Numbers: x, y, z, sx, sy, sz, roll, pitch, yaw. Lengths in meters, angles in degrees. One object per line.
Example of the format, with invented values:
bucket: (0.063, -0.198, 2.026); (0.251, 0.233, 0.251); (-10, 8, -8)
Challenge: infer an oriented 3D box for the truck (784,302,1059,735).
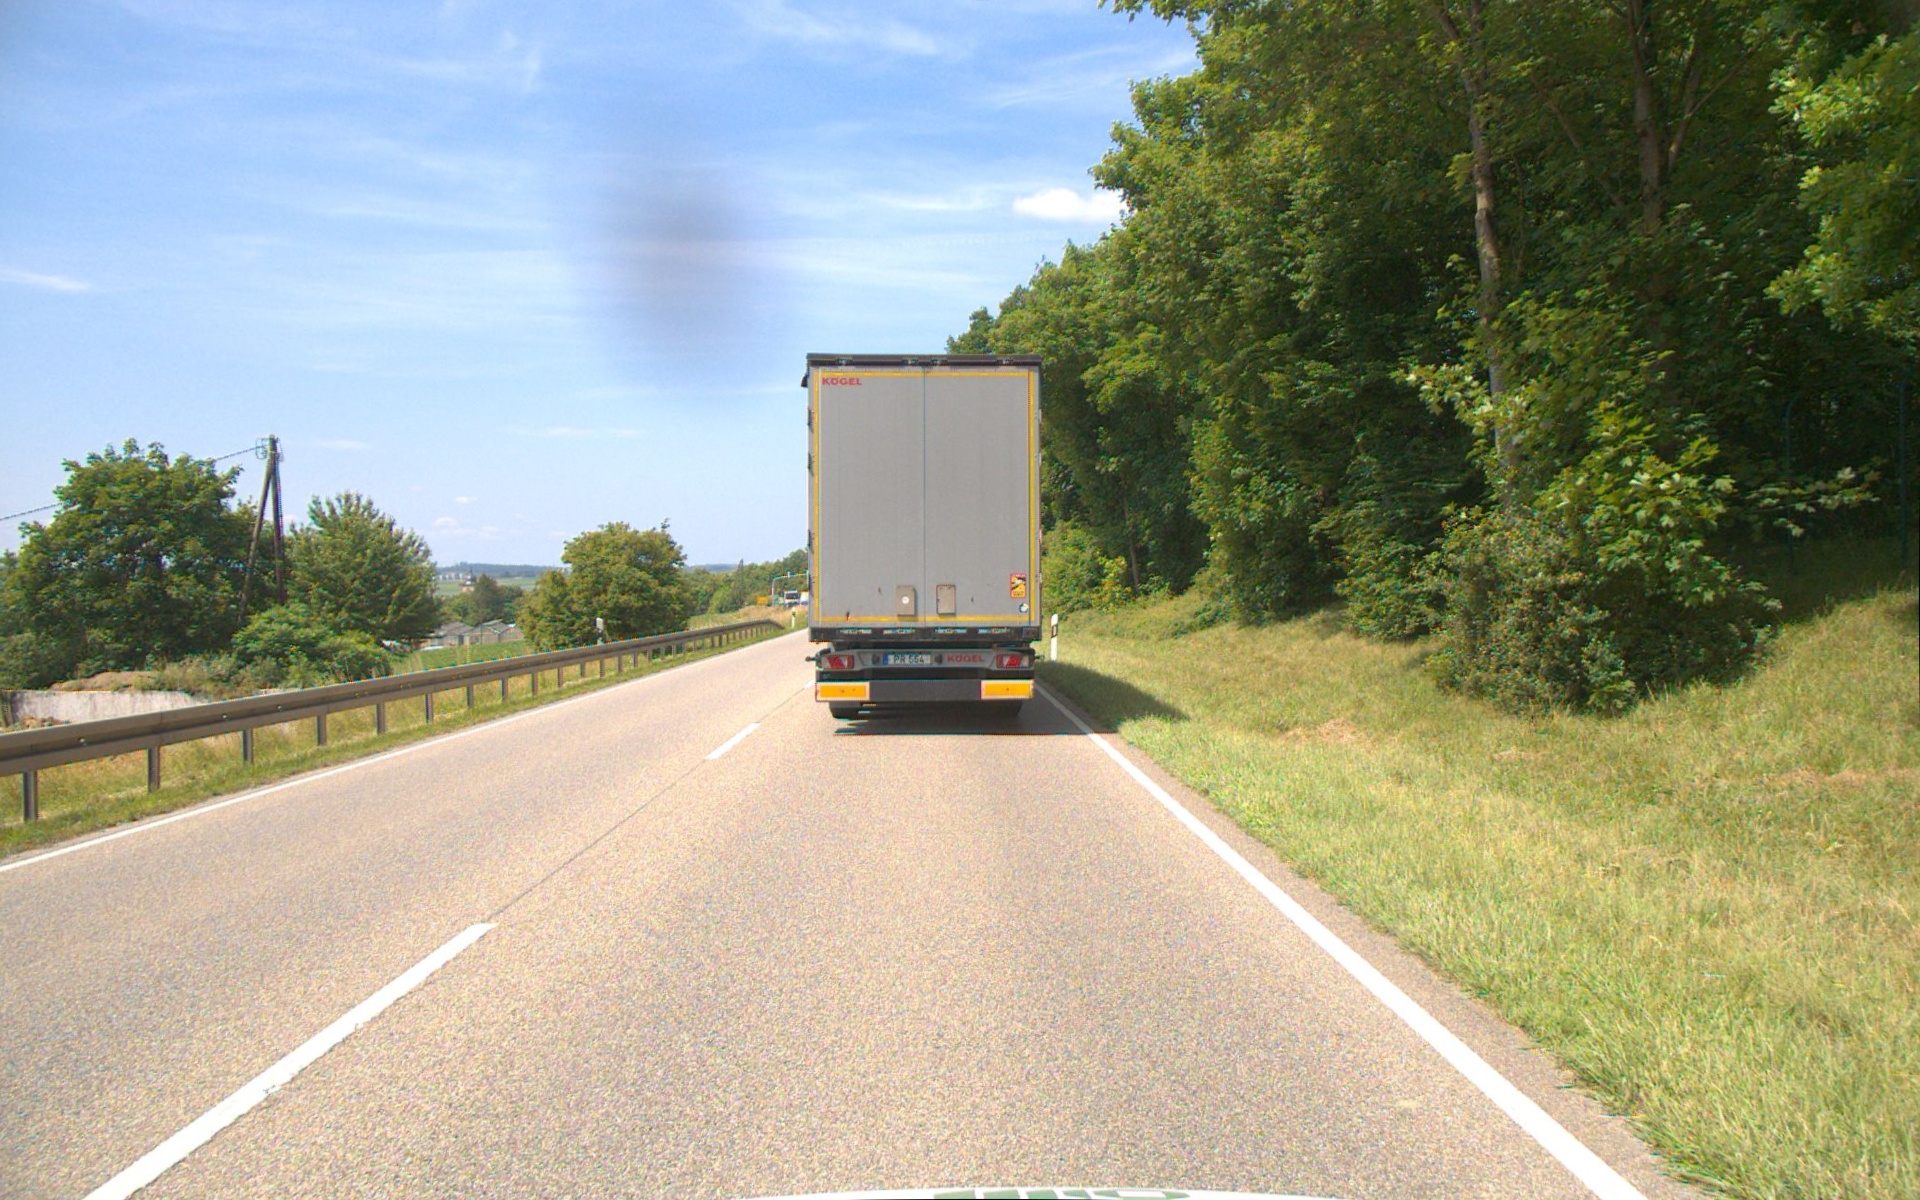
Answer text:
truck: (-0.424, -0.856, 21.574); (2.848, 4.487, 8.859); (0, 0, 0)
